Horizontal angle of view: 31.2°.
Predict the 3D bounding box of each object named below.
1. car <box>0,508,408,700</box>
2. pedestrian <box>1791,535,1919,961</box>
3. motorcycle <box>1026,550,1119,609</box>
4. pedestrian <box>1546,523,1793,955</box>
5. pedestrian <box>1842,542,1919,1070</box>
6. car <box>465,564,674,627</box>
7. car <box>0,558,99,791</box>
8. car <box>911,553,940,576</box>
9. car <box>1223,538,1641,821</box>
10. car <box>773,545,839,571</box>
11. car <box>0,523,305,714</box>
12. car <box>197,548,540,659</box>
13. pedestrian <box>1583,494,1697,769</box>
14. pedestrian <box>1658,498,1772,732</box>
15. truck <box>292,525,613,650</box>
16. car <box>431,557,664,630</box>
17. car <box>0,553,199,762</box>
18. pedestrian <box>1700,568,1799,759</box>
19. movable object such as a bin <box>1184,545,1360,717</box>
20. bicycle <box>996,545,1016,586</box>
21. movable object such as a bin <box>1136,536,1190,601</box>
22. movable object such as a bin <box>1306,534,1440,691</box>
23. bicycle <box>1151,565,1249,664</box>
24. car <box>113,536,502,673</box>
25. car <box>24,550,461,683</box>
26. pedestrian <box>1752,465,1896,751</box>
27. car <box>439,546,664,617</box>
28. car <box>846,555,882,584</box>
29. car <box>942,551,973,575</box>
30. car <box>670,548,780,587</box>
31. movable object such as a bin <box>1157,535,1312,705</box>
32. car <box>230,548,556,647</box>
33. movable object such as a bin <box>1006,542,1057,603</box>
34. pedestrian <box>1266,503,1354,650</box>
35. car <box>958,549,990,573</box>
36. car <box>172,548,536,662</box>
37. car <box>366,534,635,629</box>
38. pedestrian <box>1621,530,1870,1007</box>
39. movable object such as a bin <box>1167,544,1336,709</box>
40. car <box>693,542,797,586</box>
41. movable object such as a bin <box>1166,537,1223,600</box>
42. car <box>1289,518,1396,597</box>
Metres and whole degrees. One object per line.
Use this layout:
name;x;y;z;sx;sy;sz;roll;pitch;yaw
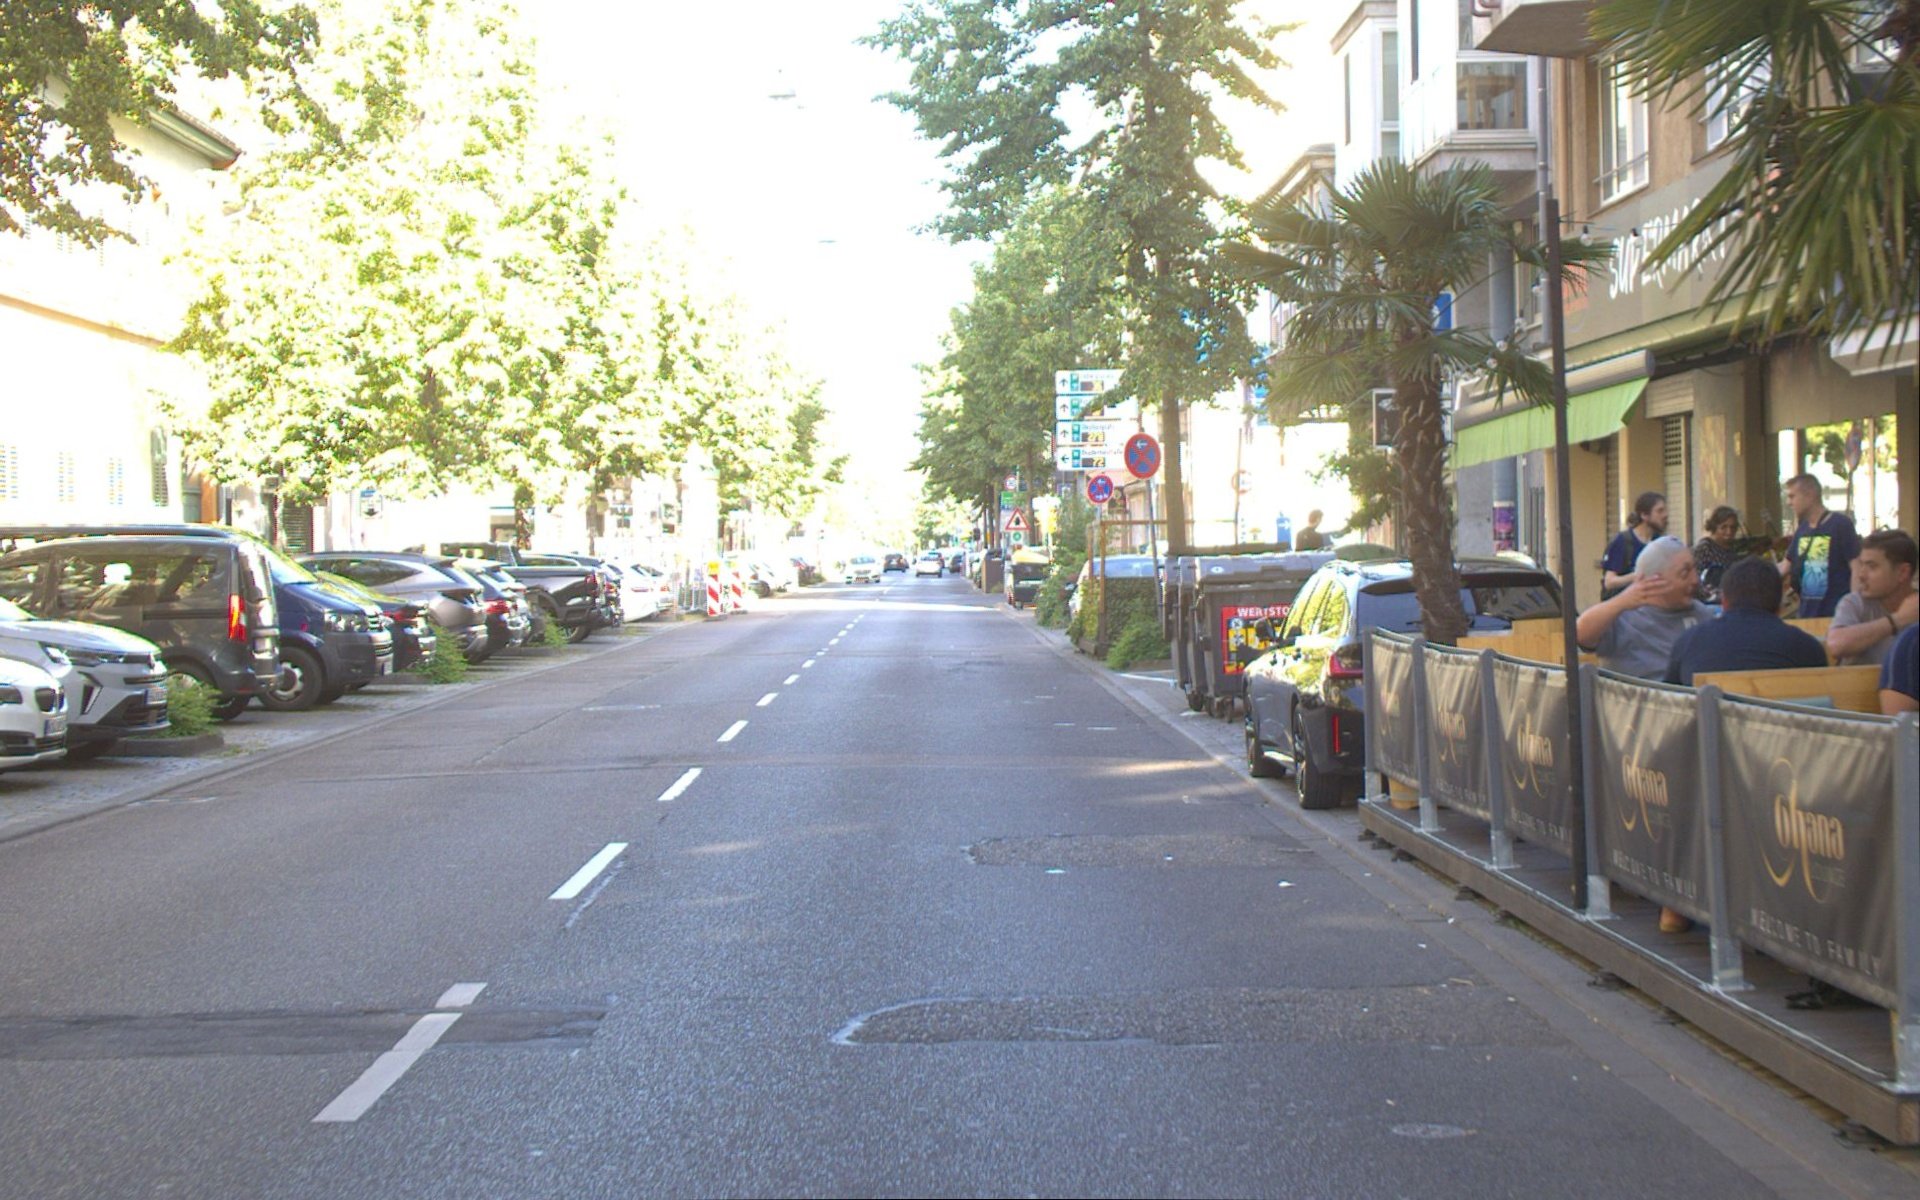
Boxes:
car;-8.295;0.033;36.041;4.680;1.943;1.916;0;1;1
pedestrian;3.472;0.529;12.767;0.712;1.531;0.769;-1;1;14
motorcycle;2.616;-0.494;80.296;1.977;1.325;0.912;-1;1;-12
pedestrian;2.623;0.491;12.793;0.650;1.531;0.980;-1;1;-2
pedestrian;3.123;0.587;10.378;0.692;1.531;0.776;-1;1;1
car;-8.946;-0.113;79.078;4.680;1.407;1.808;0;1;-3
car;-8.381;0.498;23.608;4.466;1.535;1.917;0;1;-1
car;-2.213;-2.299;220.583;1.792;1.406;4.000;-1;1;-1
car;2.812;0.405;21.544;1.822;1.467;4.912;-3;1;0
car;-9.367;-2.581;209.293;3.987;1.494;2.000;-1;1;-1
car;-8.725;0.172;33.049;4.466;1.766;1.916;0;1;1
car;-8.617;0.038;50.328;4.680;1.566;1.808;0;1;1
pedestrian;4.280;0.192;21.609;0.617;1.690;0.761;-1;1;15
pedestrian;5.420;0.101;24.712;0.616;1.636;0.762;-1;1;0
truck;-8.487;-0.216;57.832;5.084;1.931;2.000;-2;1;-1
car;-8.491;-0.144;71.038;4.680;1.460;1.808;0;1;-3
car;-8.315;0.425;26.385;4.466;1.535;1.916;0;1;3
pedestrian;4.899;0.389;21.335;0.443;1.159;0.500;-1;1;31
movable object such as a bin;2.719;0.255;30.104;1.399;1.449;1.146;-1;1;0
bicycle;1.694;-1.267;126.792;0.560;1.436;1.628;-7;1;-1
movable object such as a bin;5.190;-0.814;88.066;1.205;1.622;1.498;-2;1;-2
movable object such as a bin;3.885;0.101;32.435;1.077;1.426;1.295;-1;1;0
bicycle;2.963;0.161;42.639;0.607;1.116;2.056;-8;2;-9
car;-8.437;0.048;44.707;4.680;1.706;1.808;0;1;1
car;-8.165;0.171;39.371;4.645;1.454;1.684;0;1;0
pedestrian;5.211;0.042;20.742;0.502;1.690;0.630;-2;1;-37
car;-8.752;-0.404;73.898;4.680;1.460;1.808;0;1;-3
car;-5.070;-1.610;181.228;1.802;1.430;4.410;-3;1;-1
car;-0.196;-2.414;223.455;1.822;1.386;4.301;-3;1;-1
car;-8.764;-1.221;128.645;3.987;1.385;2.000;-1;1;-1
movable object such as a bin;2.578;0.176;32.430;1.330;1.537;1.146;-1;1;0
car;-8.661;-0.051;52.774;4.680;1.458;1.808;0;1;1
movable object such as a bin;1.897;-0.723;90.630;1.143;1.556;1.459;-2;1;8
pedestrian;4.654;-0.319;45.675;0.926;1.929;0.760;-1;1;25
car;0.933;-2.583;227.831;1.993;1.503;4.000;0;0;-1
car;-8.336;0.061;47.523;4.680;1.514;1.808;0;1;1
car;-8.421;-0.348;63.222;4.680;1.687;1.808;0;1;1
pedestrian;2.632;0.540;11.495;0.750;1.531;0.807;-1;1;14
movable object such as a bin;2.638;0.227;31.267;1.399;1.449;1.146;-1;1;0
car;-8.852;-1.492;141.556;3.987;1.688;2.000;-1;1;4
movable object such as a bin;5.910;-0.801;86.699;1.270;1.525;1.177;-2;1;-2
car;8.408;-0.936;75.836;1.901;1.642;4.293;-2;1;1
